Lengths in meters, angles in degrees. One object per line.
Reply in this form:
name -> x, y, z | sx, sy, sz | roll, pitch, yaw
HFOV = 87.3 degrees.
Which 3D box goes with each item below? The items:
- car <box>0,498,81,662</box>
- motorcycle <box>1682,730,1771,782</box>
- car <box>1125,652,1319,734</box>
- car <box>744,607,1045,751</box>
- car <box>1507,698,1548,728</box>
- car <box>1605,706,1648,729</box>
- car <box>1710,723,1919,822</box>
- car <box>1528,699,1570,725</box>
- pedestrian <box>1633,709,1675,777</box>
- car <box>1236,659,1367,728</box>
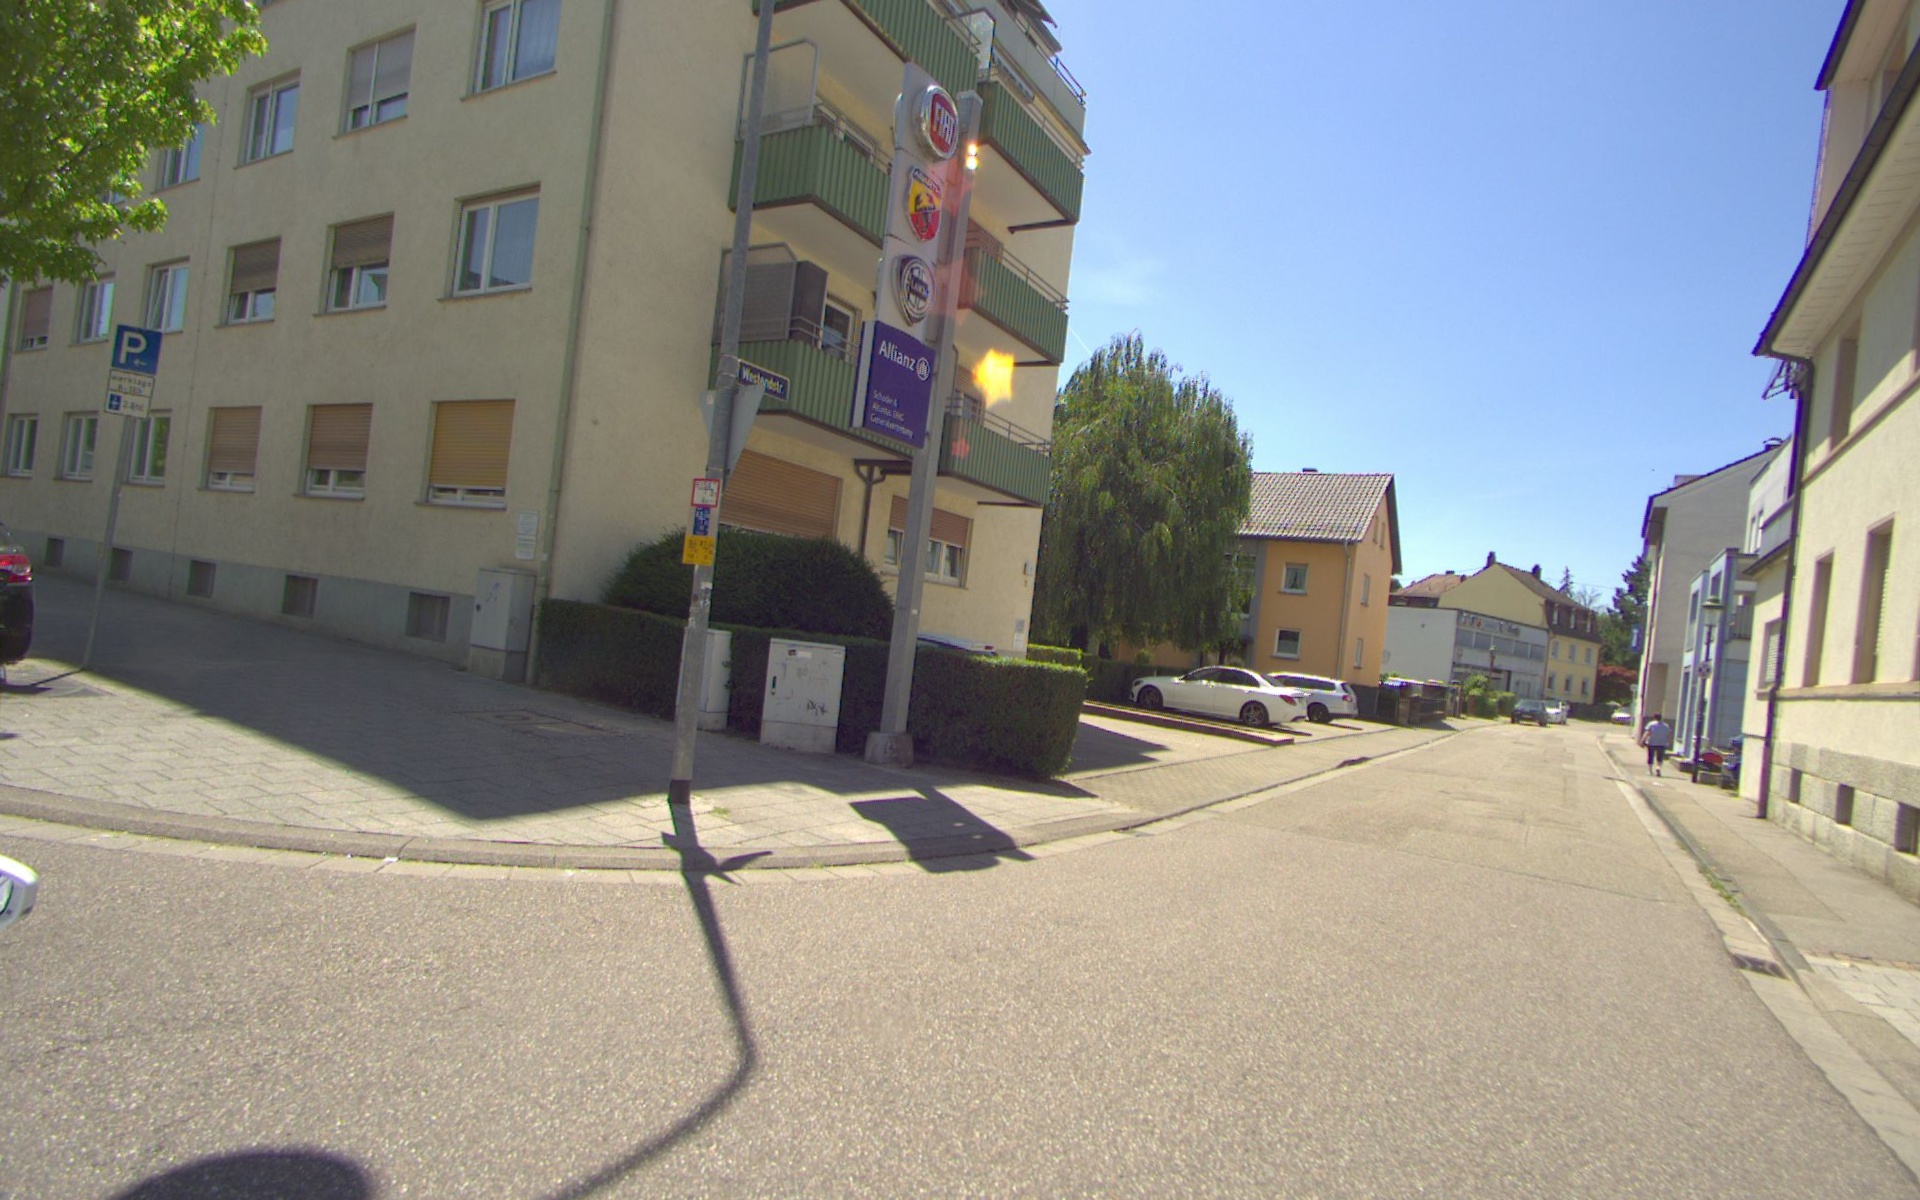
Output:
car -> -10.731, -0.434, 9.952 | 4.471, 1.455, 1.898 | 7, -1, 34
motorcycle -> 20.902, 4.245, 27.476 | 1.772, 1.173, 0.737 | 4, -4, 26
car -> 6.964, 2.448, 26.819 | 4.510, 1.479, 1.997 | 7, -1, 31
car -> -0.947, 1.085, 14.463 | 3.787, 1.433, 1.842 | 7, -1, 27
car -> 34.989, 6.937, 61.942 | 1.793, 1.517, 3.880 | 7, -2, 34
car -> 57.296, 10.092, 86.421 | 4.559, 1.517, 1.976 | 9, -2, -43
car -> 18.396, 3.653, 21.492 | 3.364, 1.492, 1.620 | 7, -3, 20
car -> 41.087, 7.819, 70.138 | 1.828, 1.517, 4.057 | 7, -2, 38
pedestrian -> 18.190, 3.738, 26.370 | 0.706, 1.646, 0.684 | 7, 0, 32
car -> 11.182, 3.036, 32.978 | 3.707, 1.706, 1.697 | 7, -1, 27
